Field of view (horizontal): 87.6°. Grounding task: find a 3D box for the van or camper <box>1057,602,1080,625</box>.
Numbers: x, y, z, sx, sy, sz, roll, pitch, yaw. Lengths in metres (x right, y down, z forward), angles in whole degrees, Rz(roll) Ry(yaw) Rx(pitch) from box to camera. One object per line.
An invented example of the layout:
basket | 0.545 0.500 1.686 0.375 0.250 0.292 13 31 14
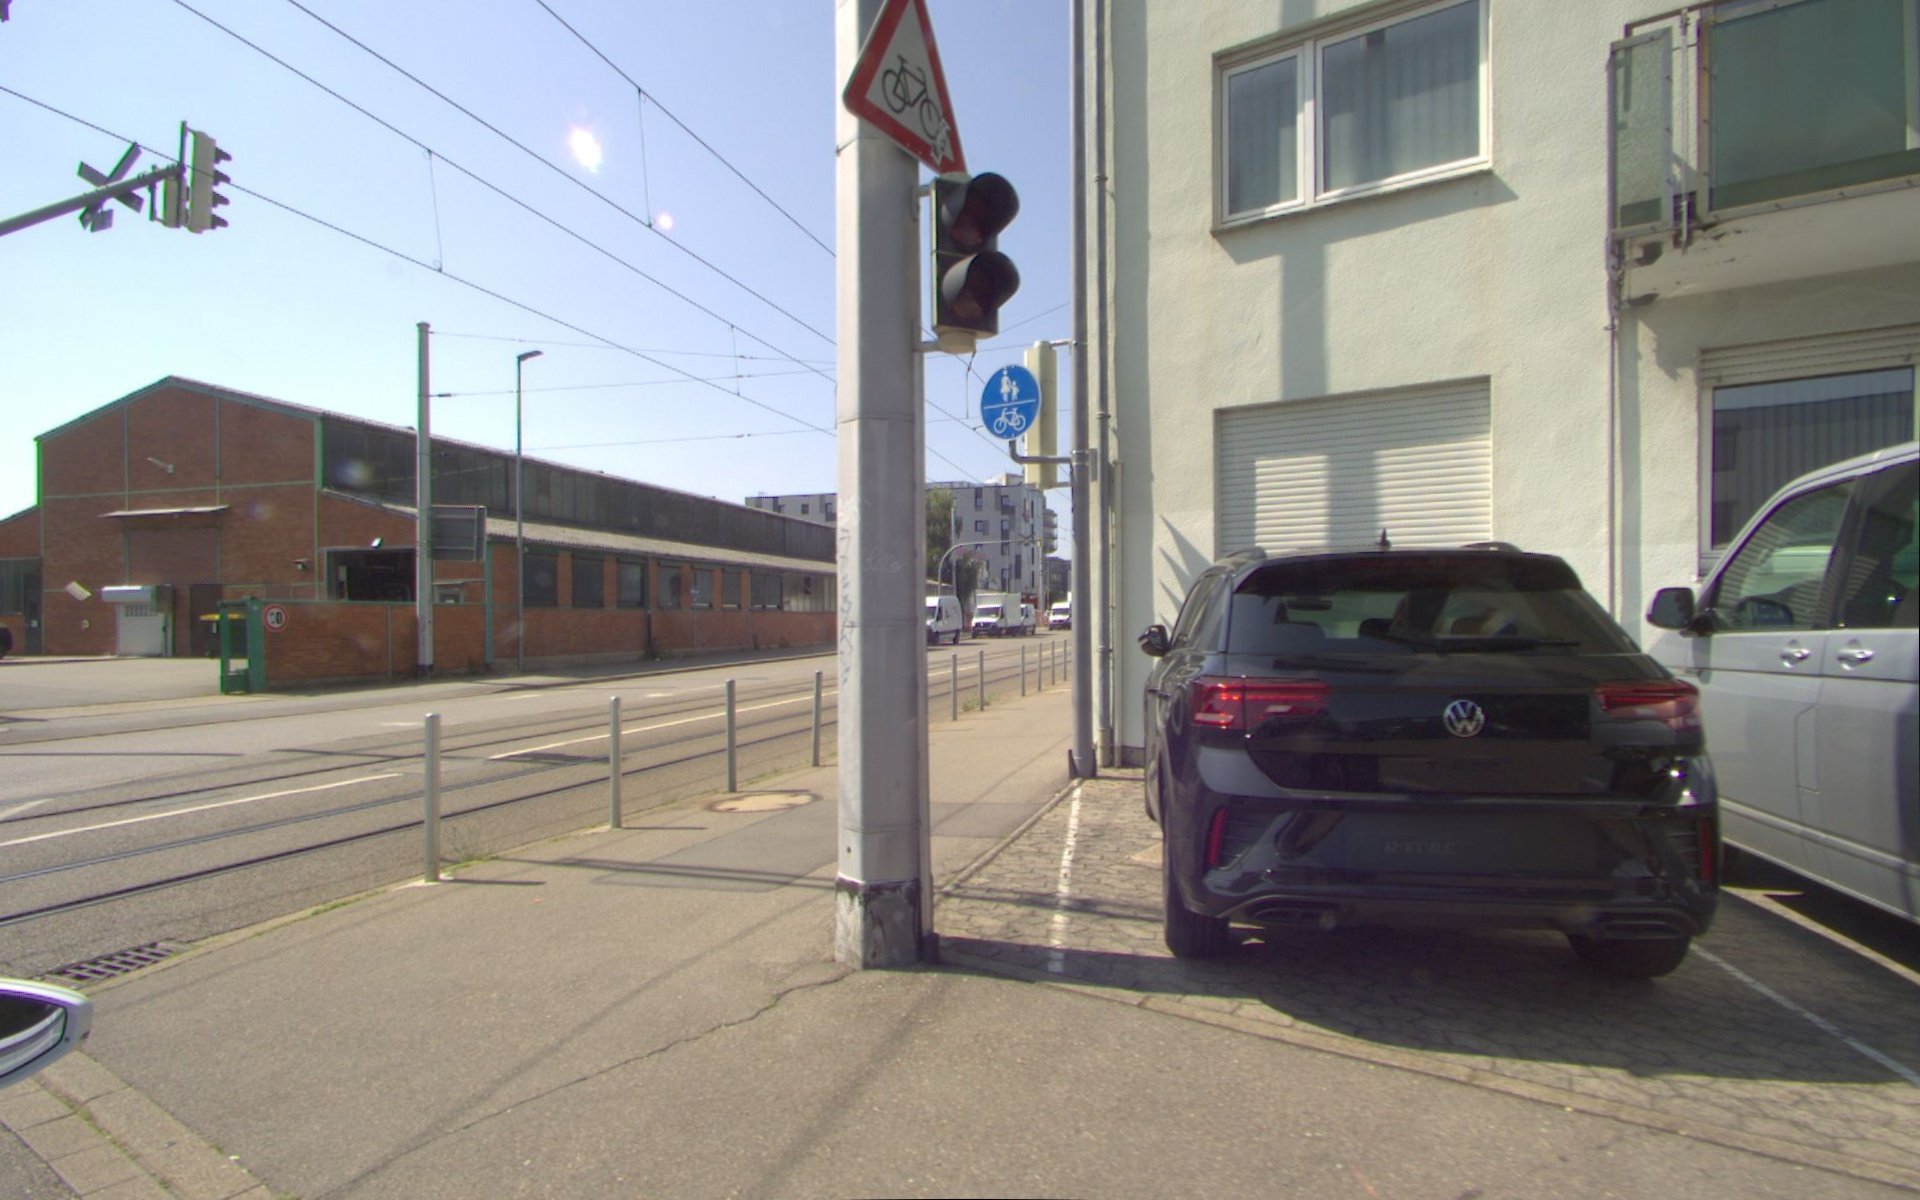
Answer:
van or camper | 10.879 1.371 100.188 1.792 2.240 4.422 -1 -1 13

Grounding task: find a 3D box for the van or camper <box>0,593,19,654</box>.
van or camper | -31.595 0.654 30.384 1.961 1.924 4.425 0 -3 -2

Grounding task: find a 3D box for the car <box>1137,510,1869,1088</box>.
car | 1.823 0.575 4.784 1.844 1.541 3.973 -1 -1 9

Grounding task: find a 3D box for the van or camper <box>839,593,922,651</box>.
van or camper | -3.665 1.011 47.355 2.007 2.567 5.862 -1 -1 15

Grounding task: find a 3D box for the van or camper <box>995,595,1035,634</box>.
van or camper | 4.194 1.117 75.558 2.137 2.823 4.726 -1 -1 15

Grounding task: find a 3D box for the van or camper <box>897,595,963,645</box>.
van or camper | -1.571 1.087 54.509 2.007 2.567 5.575 -1 -1 15

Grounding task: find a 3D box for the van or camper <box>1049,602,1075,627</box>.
van or camper | 9.548 1.371 93.418 1.921 2.240 4.905 -1 -1 13

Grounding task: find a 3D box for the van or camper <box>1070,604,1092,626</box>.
van or camper | 12.819 1.552 105.926 1.792 2.240 4.257 -1 -1 13

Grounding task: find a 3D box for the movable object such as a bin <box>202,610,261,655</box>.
movable object such as a bin | -22.427 0.989 30.827 1.131 1.331 0.976 0 0 17

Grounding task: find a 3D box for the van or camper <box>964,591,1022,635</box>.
van or camper | 2.354 0.896 68.838 2.478 2.823 7.109 -1 -1 15

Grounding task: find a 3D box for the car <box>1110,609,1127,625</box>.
car | 21.680 2.306 137.027 1.794 2.040 3.830 -1 -1 16

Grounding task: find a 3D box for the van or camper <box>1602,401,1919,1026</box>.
van or camper | 3.987 0.346 3.122 1.963 1.933 4.551 0 0 14
